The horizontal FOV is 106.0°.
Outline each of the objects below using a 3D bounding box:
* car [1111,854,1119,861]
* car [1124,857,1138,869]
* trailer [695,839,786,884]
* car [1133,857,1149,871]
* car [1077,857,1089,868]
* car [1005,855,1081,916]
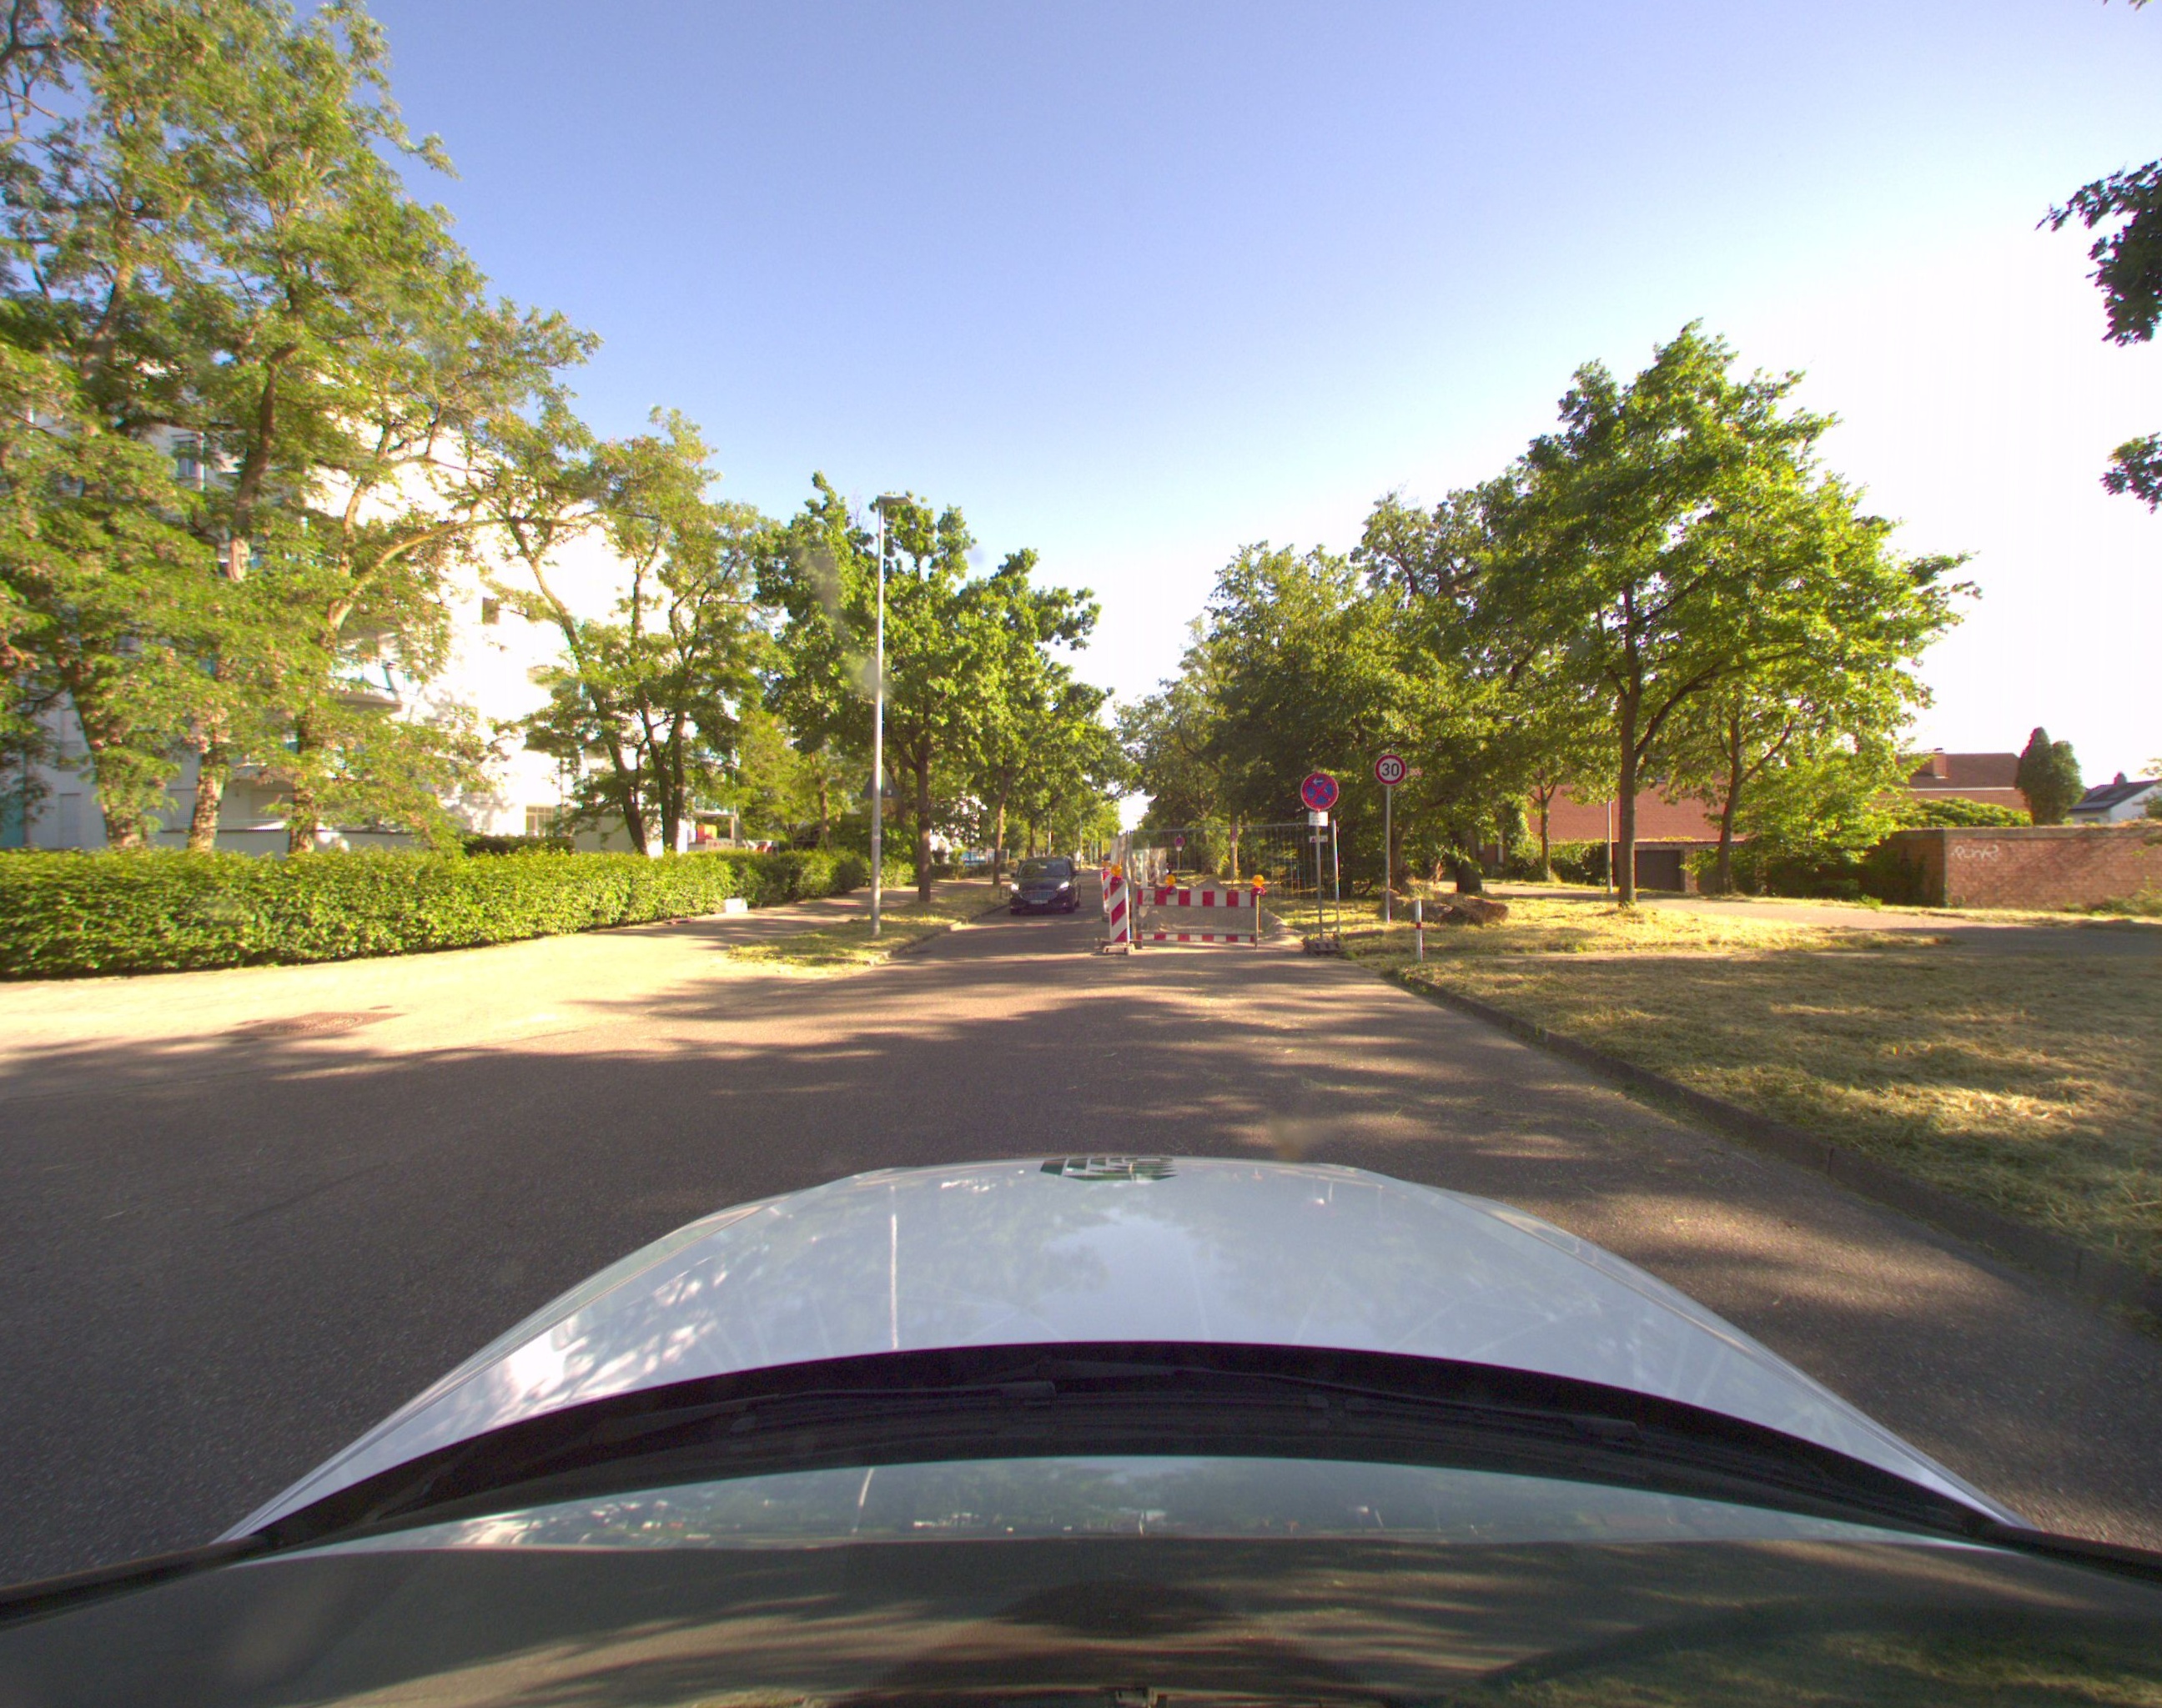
[{"bbox_3d":[7.972,0.862,192.530,1.705,1.585,3.998,1,-1,0],"label":"car"},{"bbox_3d":[5.546,0.995,90.642,1.356,1.302,3.481,1,-1,1],"label":"car"},{"bbox_3d":[-16.364,0.350,39.427,1.964,2.042,4.442,0,0,10],"label":"trailer"},{"bbox_3d":[5.715,0.933,77.648,1.356,1.302,3.481,1,-1,1],"label":"car"},{"bbox_3d":[0.263,1.120,103.427,1.356,1.302,3.481,1,-1,1],"label":"car"},{"bbox_3d":[-1.047,0.872,24.837,1.814,1.625,4.496,-2,0,3],"label":"car"}]
